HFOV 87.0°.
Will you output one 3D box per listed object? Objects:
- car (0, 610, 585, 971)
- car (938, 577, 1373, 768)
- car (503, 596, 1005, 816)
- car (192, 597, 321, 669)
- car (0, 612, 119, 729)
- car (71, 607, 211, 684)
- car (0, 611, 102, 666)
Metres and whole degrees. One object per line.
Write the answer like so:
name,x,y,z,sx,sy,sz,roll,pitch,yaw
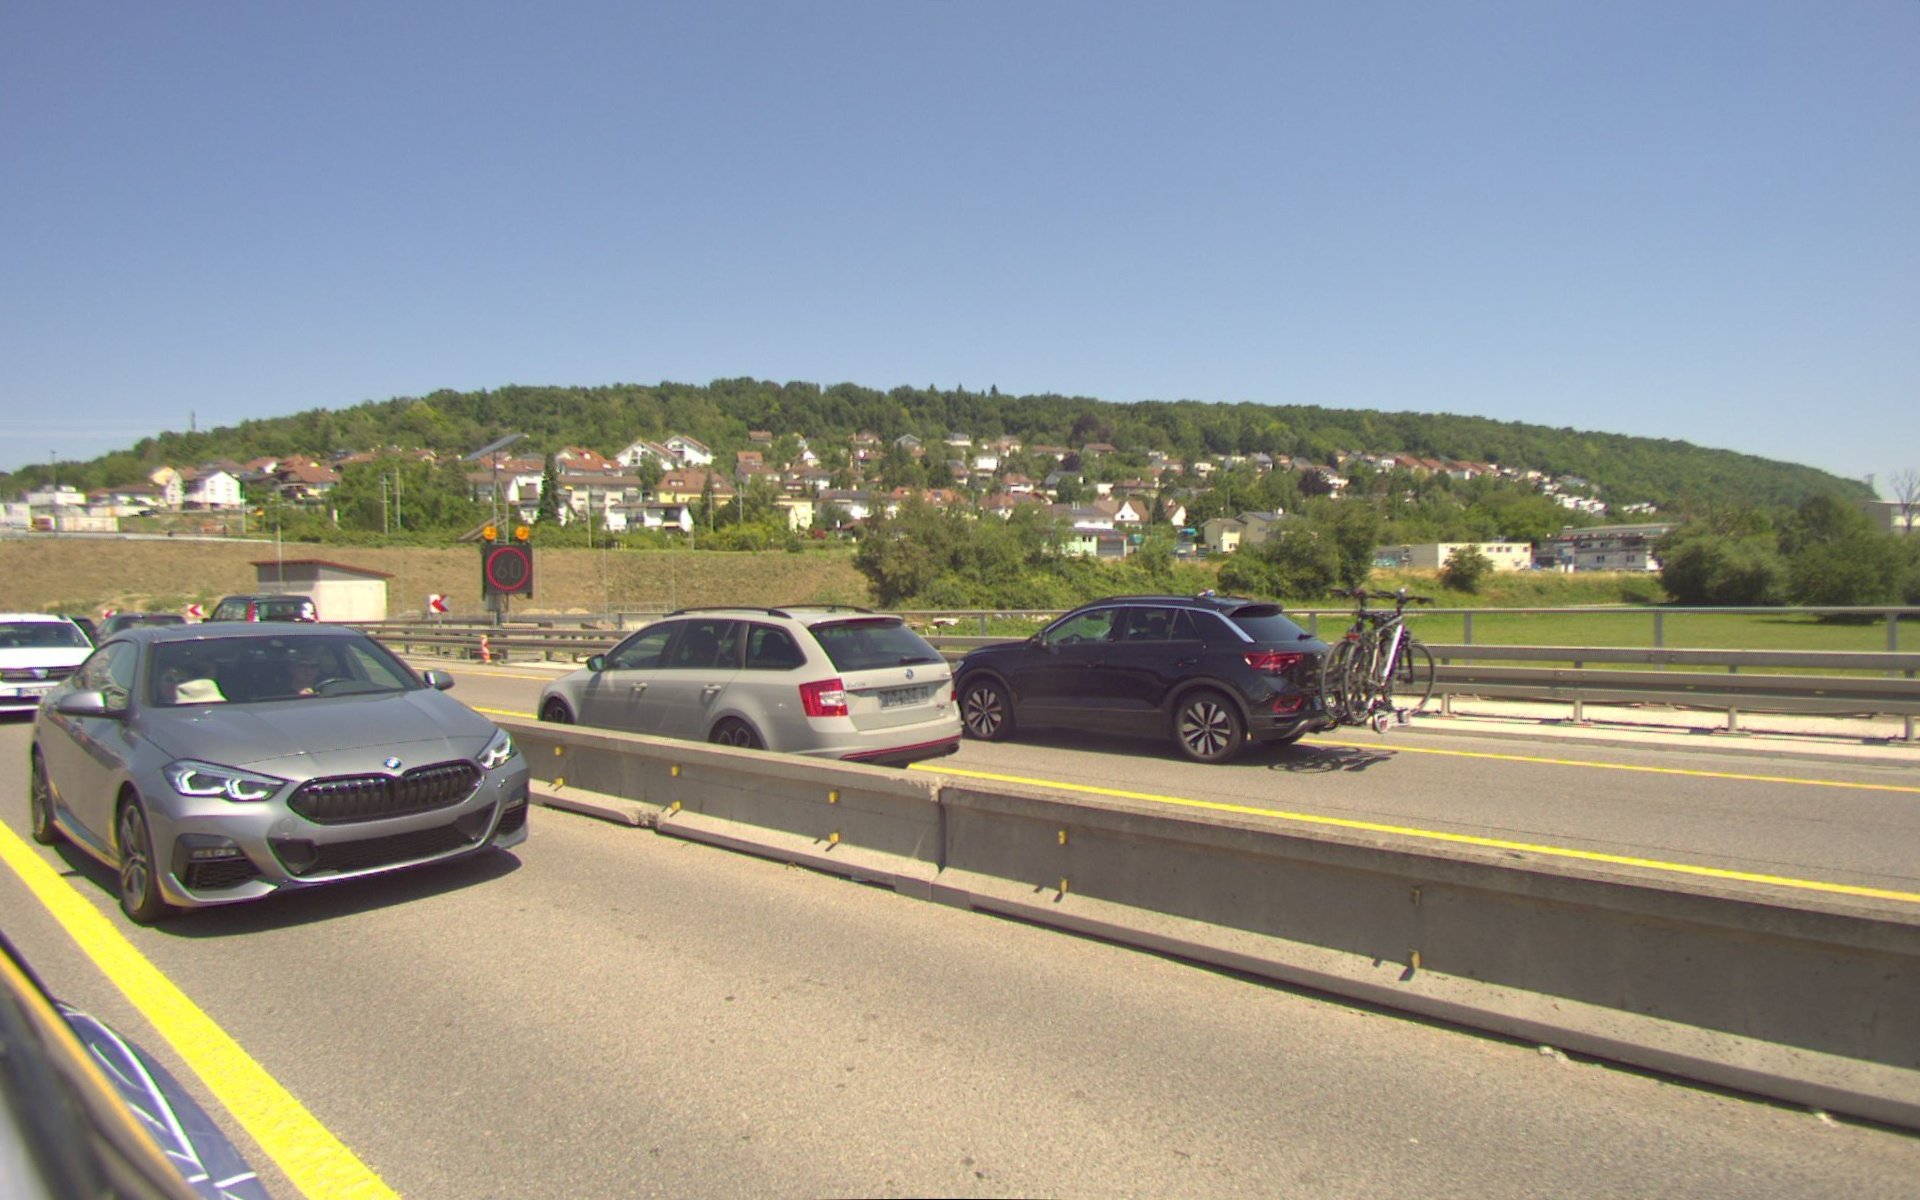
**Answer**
car,-4.477,0.837,6.356,4.737,1.463,1.833,-2,-1,39
car,1.872,0.651,10.346,3.996,1.581,1.795,-2,-2,39
car,-1.990,0.764,8.821,4.653,1.429,1.807,-2,-3,40
car,-20.686,0.956,29.689,4.934,1.948,1.904,-2,-2,40
car,-14.337,0.969,15.331,4.705,1.542,1.799,-1,0,42
car,-18.671,0.972,23.007,4.082,1.594,1.724,-1,-1,40
car,-26.496,1.073,29.387,4.082,1.484,1.723,-1,-2,40
